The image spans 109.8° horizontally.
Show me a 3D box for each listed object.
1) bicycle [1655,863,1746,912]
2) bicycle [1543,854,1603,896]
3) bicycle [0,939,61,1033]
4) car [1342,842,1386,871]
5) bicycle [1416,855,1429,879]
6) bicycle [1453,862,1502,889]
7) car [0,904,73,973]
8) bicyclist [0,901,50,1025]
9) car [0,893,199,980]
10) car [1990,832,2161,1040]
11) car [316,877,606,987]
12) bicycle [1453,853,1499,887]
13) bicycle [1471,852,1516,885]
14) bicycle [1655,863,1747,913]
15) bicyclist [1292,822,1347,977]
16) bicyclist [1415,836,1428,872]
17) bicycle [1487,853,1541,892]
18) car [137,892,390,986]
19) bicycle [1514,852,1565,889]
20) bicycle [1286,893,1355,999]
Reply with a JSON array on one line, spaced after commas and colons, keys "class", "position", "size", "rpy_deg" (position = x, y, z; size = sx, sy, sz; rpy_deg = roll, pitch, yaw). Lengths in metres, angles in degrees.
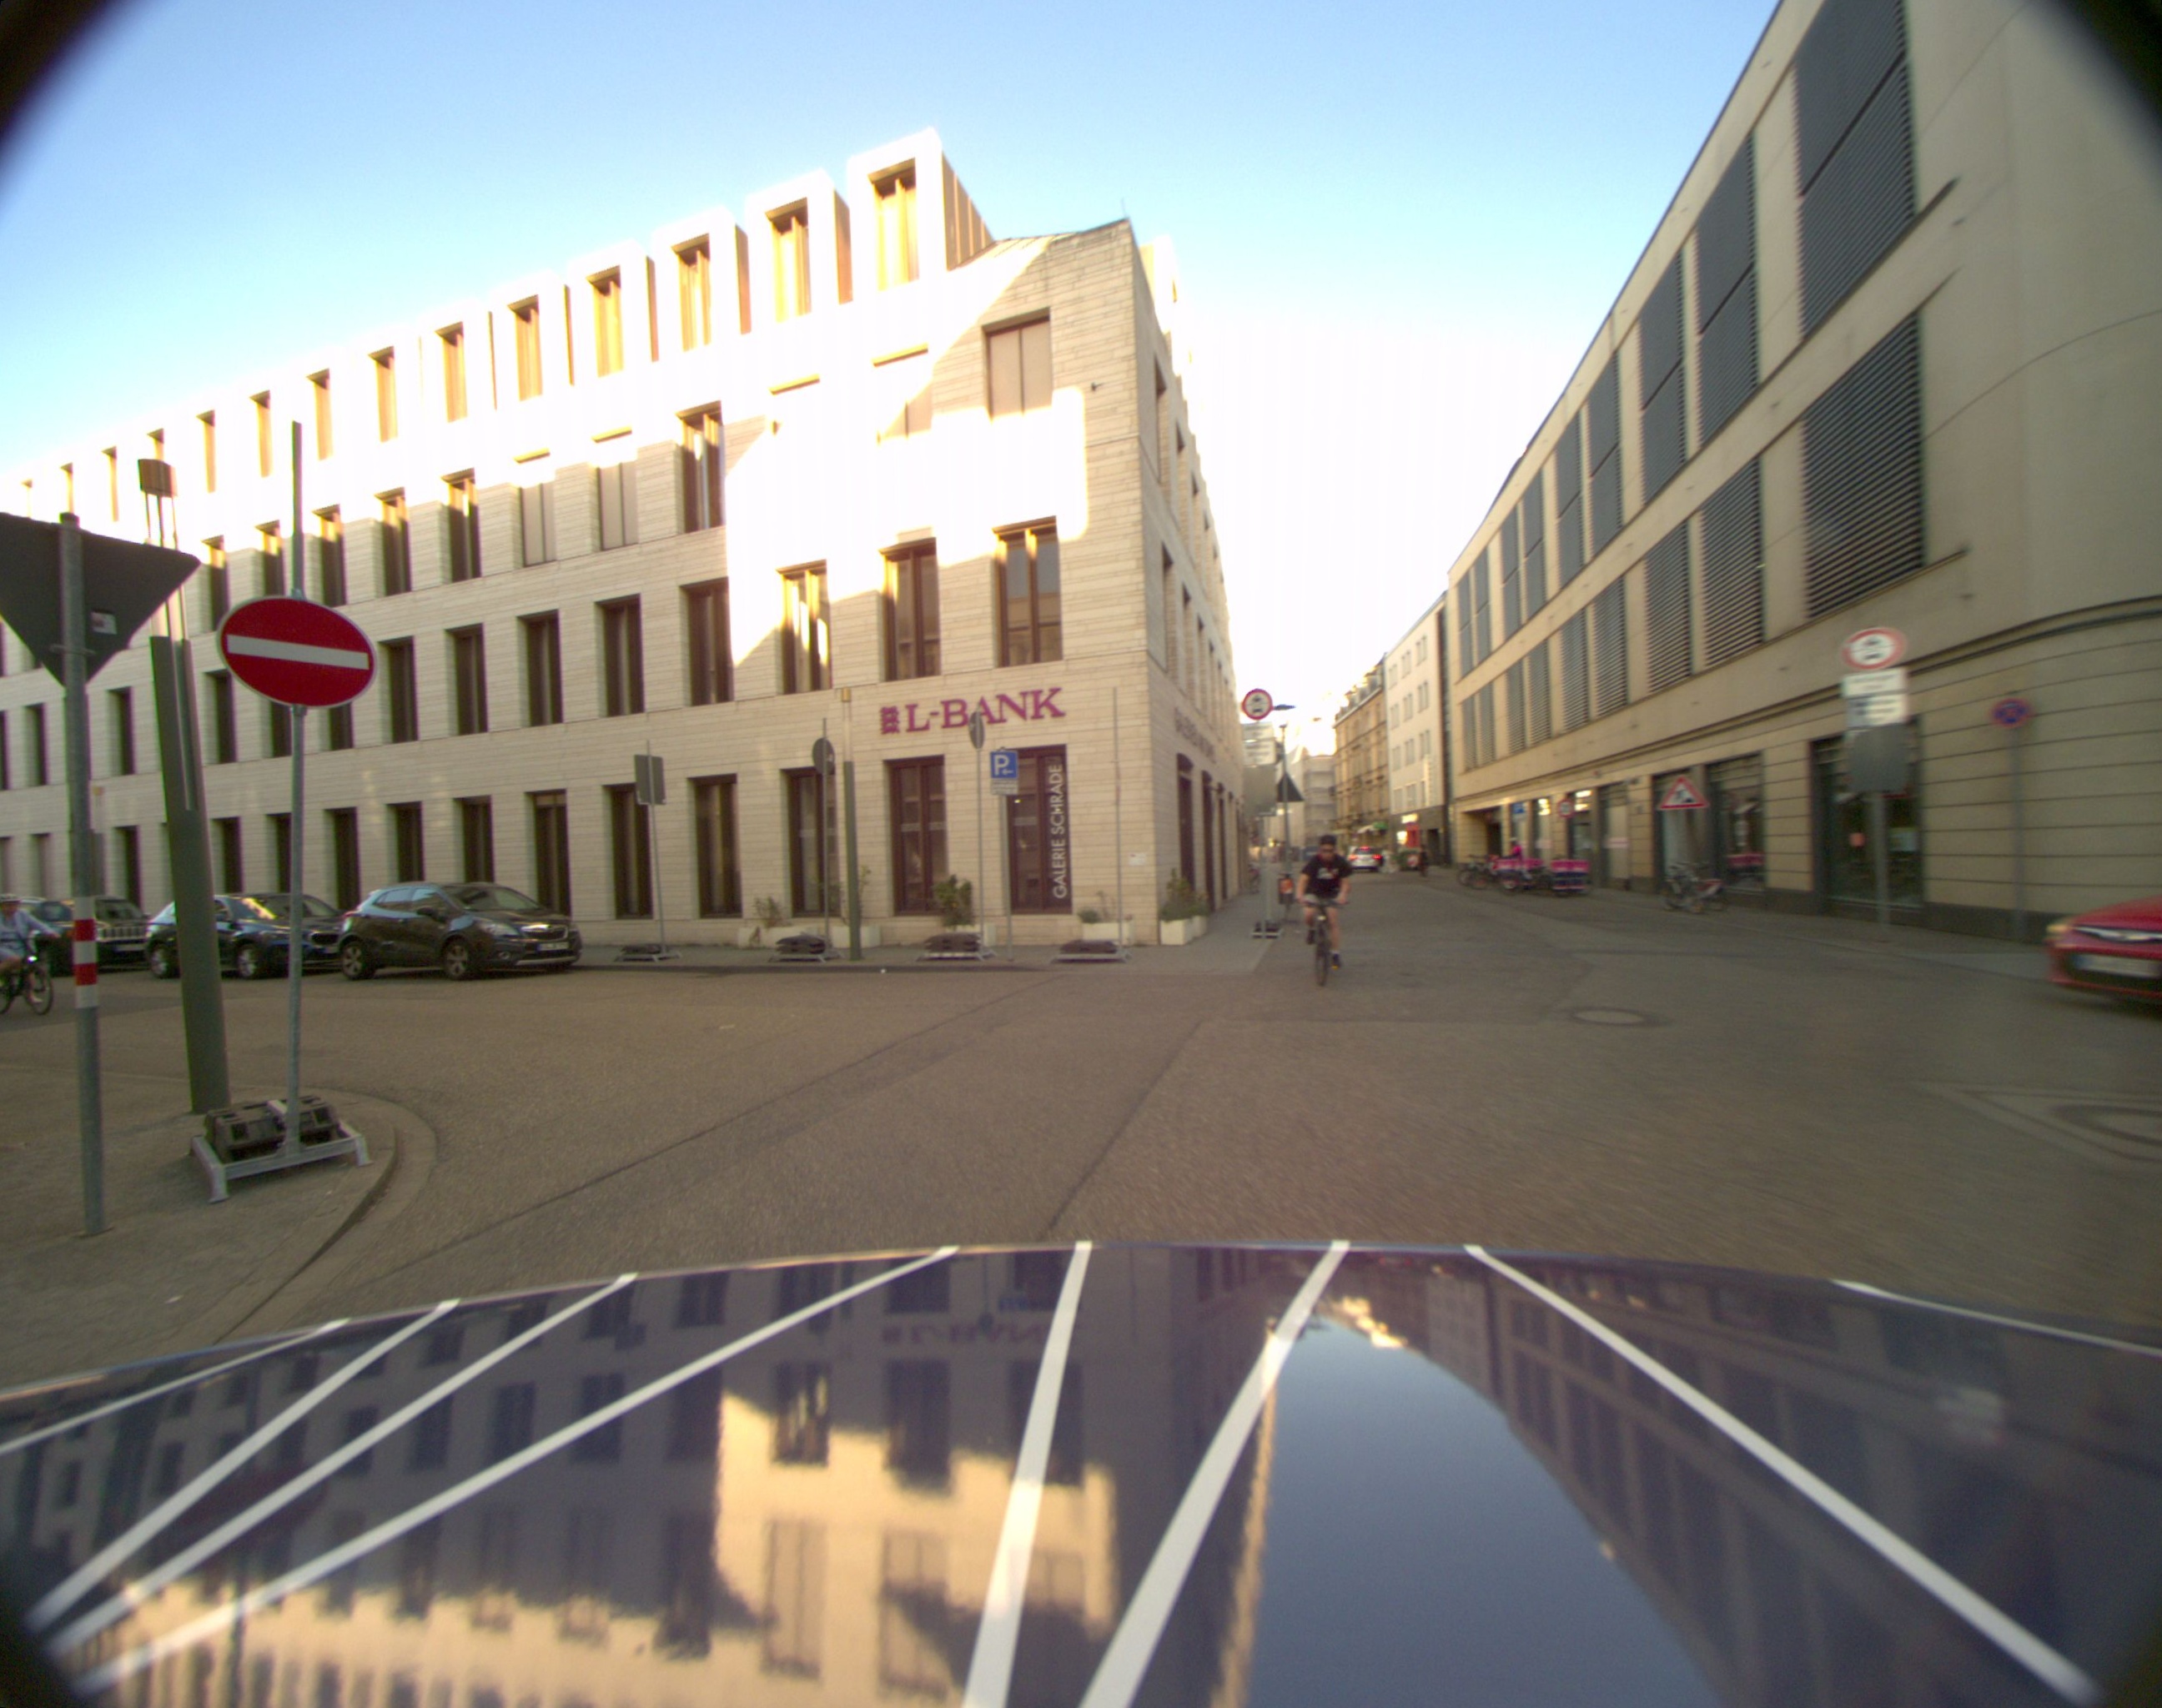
[{"class": "bicycle", "position": [13.614, 0.731, 16.741], "size": [1.515, 1.027, 0.353], "rpy_deg": [-2, 0, 39]}, {"class": "bicycle", "position": [15.237, 0.651, 23.544], "size": [1.515, 1.243, 0.353], "rpy_deg": [-1, 2, 22]}, {"class": "bicycle", "position": [-15.050, 1.821, 10.685], "size": [2.304, 1.077, 0.597], "rpy_deg": [-1, 2, 32]}, {"class": "car", "position": [18.086, 0.105, 48.720], "size": [2.174, 1.652, 4.003], "rpy_deg": [-2, 1, 15]}, {"class": "bicycle", "position": [15.608, 0.567, 34.765], "size": [0.517, 0.989, 2.112], "rpy_deg": [-1, 2, 24]}, {"class": "bicycle", "position": [14.254, 0.766, 27.356], "size": [1.515, 0.947, 0.353], "rpy_deg": [-1, 2, 23]}, {"class": "car", "position": [-27.716, 2.150, 18.827], "size": [4.255, 1.533, 1.830], "rpy_deg": [-3, 1, 16]}, {"class": "bicyclist", "position": [-15.166, 1.534, 10.745], "size": [0.536, 1.679, 0.587], "rpy_deg": [-1, 2, 33]}, {"class": "car", "position": [-22.055, 1.800, 16.801], "size": [4.010, 1.704, 1.831], "rpy_deg": [-3, -1, 16]}, {"class": "car", "position": [9.752, 0.553, 5.240], "size": [4.256, 1.456, 1.829], "rpy_deg": [-1, 1, 11]}, {"class": "car", "position": [-10.760, 1.335, 13.238], "size": [4.255, 1.667, 1.831], "rpy_deg": [-3, -1, 17]}, {"class": "bicycle", "position": [14.716, 0.592, 28.321], "size": [1.515, 1.243, 0.353], "rpy_deg": [-1, 2, 26]}, {"class": "bicycle", "position": [16.025, 0.554, 29.547], "size": [1.515, 1.243, 0.353], "rpy_deg": [-1, 2, 30]}, {"class": "bicycle", "position": [13.380, 0.737, 16.431], "size": [1.515, 1.027, 0.353], "rpy_deg": [-2, 0, 39]}, {"class": "bicyclist", "position": [2.719, 0.503, 8.700], "size": [0.501, 1.722, 0.552], "rpy_deg": [-2, 2, 10]}, {"class": "bicyclist", "position": [15.607, -0.001, 34.814], "size": [0.497, 1.616, 0.633], "rpy_deg": [-1, 2, 24]}, {"class": "bicycle", "position": [14.276, 0.620, 25.064], "size": [1.515, 1.243, 0.353], "rpy_deg": [-1, 2, 35]}, {"class": "car", "position": [-15.872, 1.622, 14.772], "size": [4.145, 1.585, 1.748], "rpy_deg": [-3, -1, 18]}, {"class": "bicycle", "position": [16.068, 0.585, 26.635], "size": [1.515, 1.243, 0.353], "rpy_deg": [-1, 2, 35]}, {"class": "bicycle", "position": [2.756, 1.017, 8.884], "size": [0.510, 0.968, 1.821], "rpy_deg": [-2, 2, 10]}]
